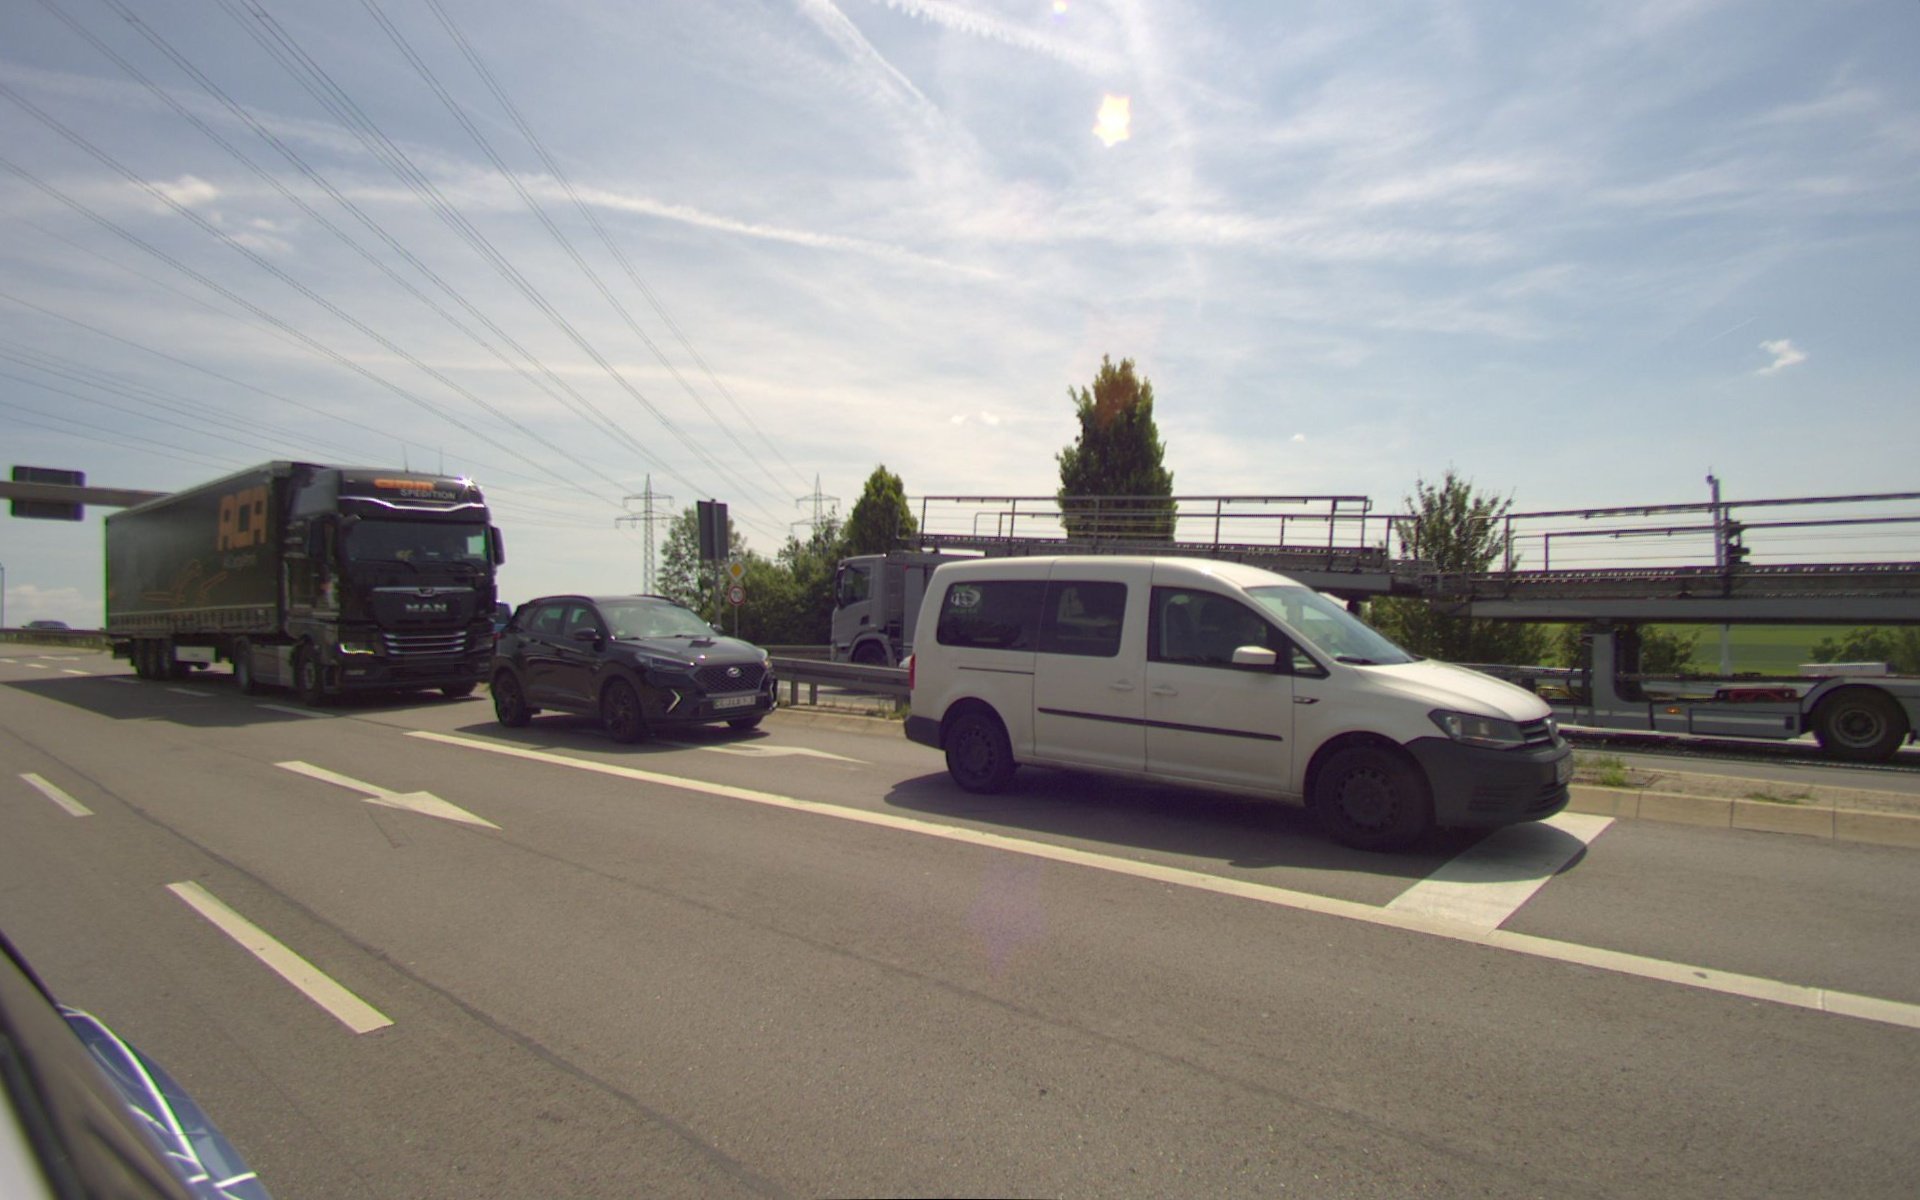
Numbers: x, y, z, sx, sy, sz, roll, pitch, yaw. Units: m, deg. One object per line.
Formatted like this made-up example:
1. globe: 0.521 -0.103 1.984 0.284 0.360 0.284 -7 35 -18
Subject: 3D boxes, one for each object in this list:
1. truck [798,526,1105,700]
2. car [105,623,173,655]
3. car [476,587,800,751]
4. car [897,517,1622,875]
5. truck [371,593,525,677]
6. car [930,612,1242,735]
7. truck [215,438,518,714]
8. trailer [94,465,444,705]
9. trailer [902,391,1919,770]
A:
1. truck: -0.319 0.263 20.667 5.988 3.036 2.770 0 -1 42
2. car: -40.771 1.932 50.240 4.319 1.516 1.719 -1 -3 39
3. car: -4.090 0.730 12.462 4.346 1.670 1.836 -1 0 41
4. car: 1.852 0.517 7.352 4.749 1.812 1.749 -1 -1 41
5. truck: -14.411 0.922 28.395 4.614 2.173 1.949 0 -1 36
6. car: 1.644 0.909 13.966 3.998 1.444 1.754 0 -2 41
7. truck: -10.557 -0.322 17.778 5.966 4.044 2.755 -1 0 40
8. trailer: -15.693 -0.166 22.122 13.776 3.943 2.755 -1 0 40
9. trailer: 7.103 -0.154 14.110 19.793 3.792 2.611 0 -1 42
